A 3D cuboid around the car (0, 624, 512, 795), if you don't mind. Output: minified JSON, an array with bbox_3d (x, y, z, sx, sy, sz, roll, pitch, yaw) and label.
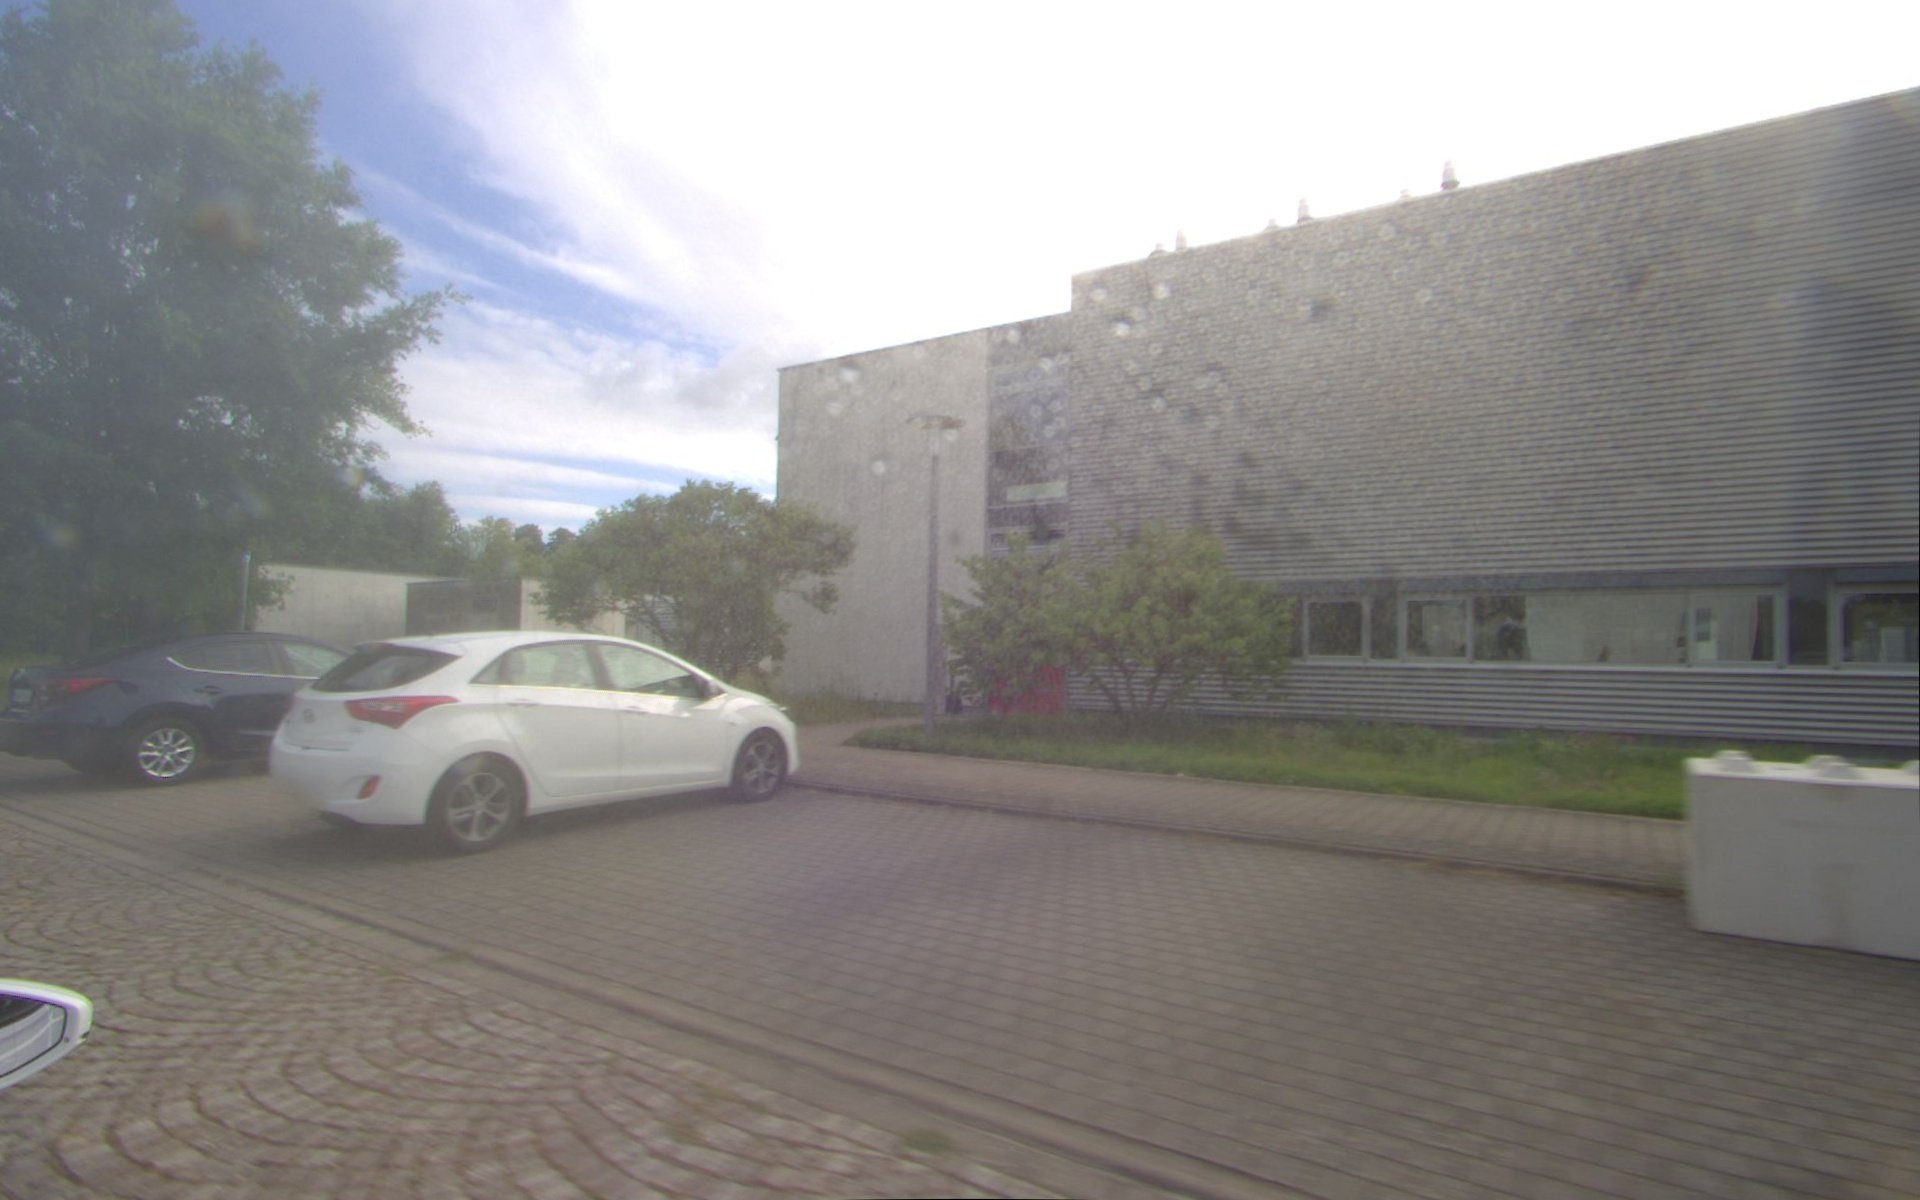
[{"bbox_3d":[-7.538,1.036,11.016,1.917,1.465,4.456,-1,-2,33],"label":"car"}]

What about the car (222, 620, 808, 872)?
[{"bbox_3d":[-3.266,0.975,8.122,1.856,1.484,3.969,-1,-3,33],"label":"car"}]
